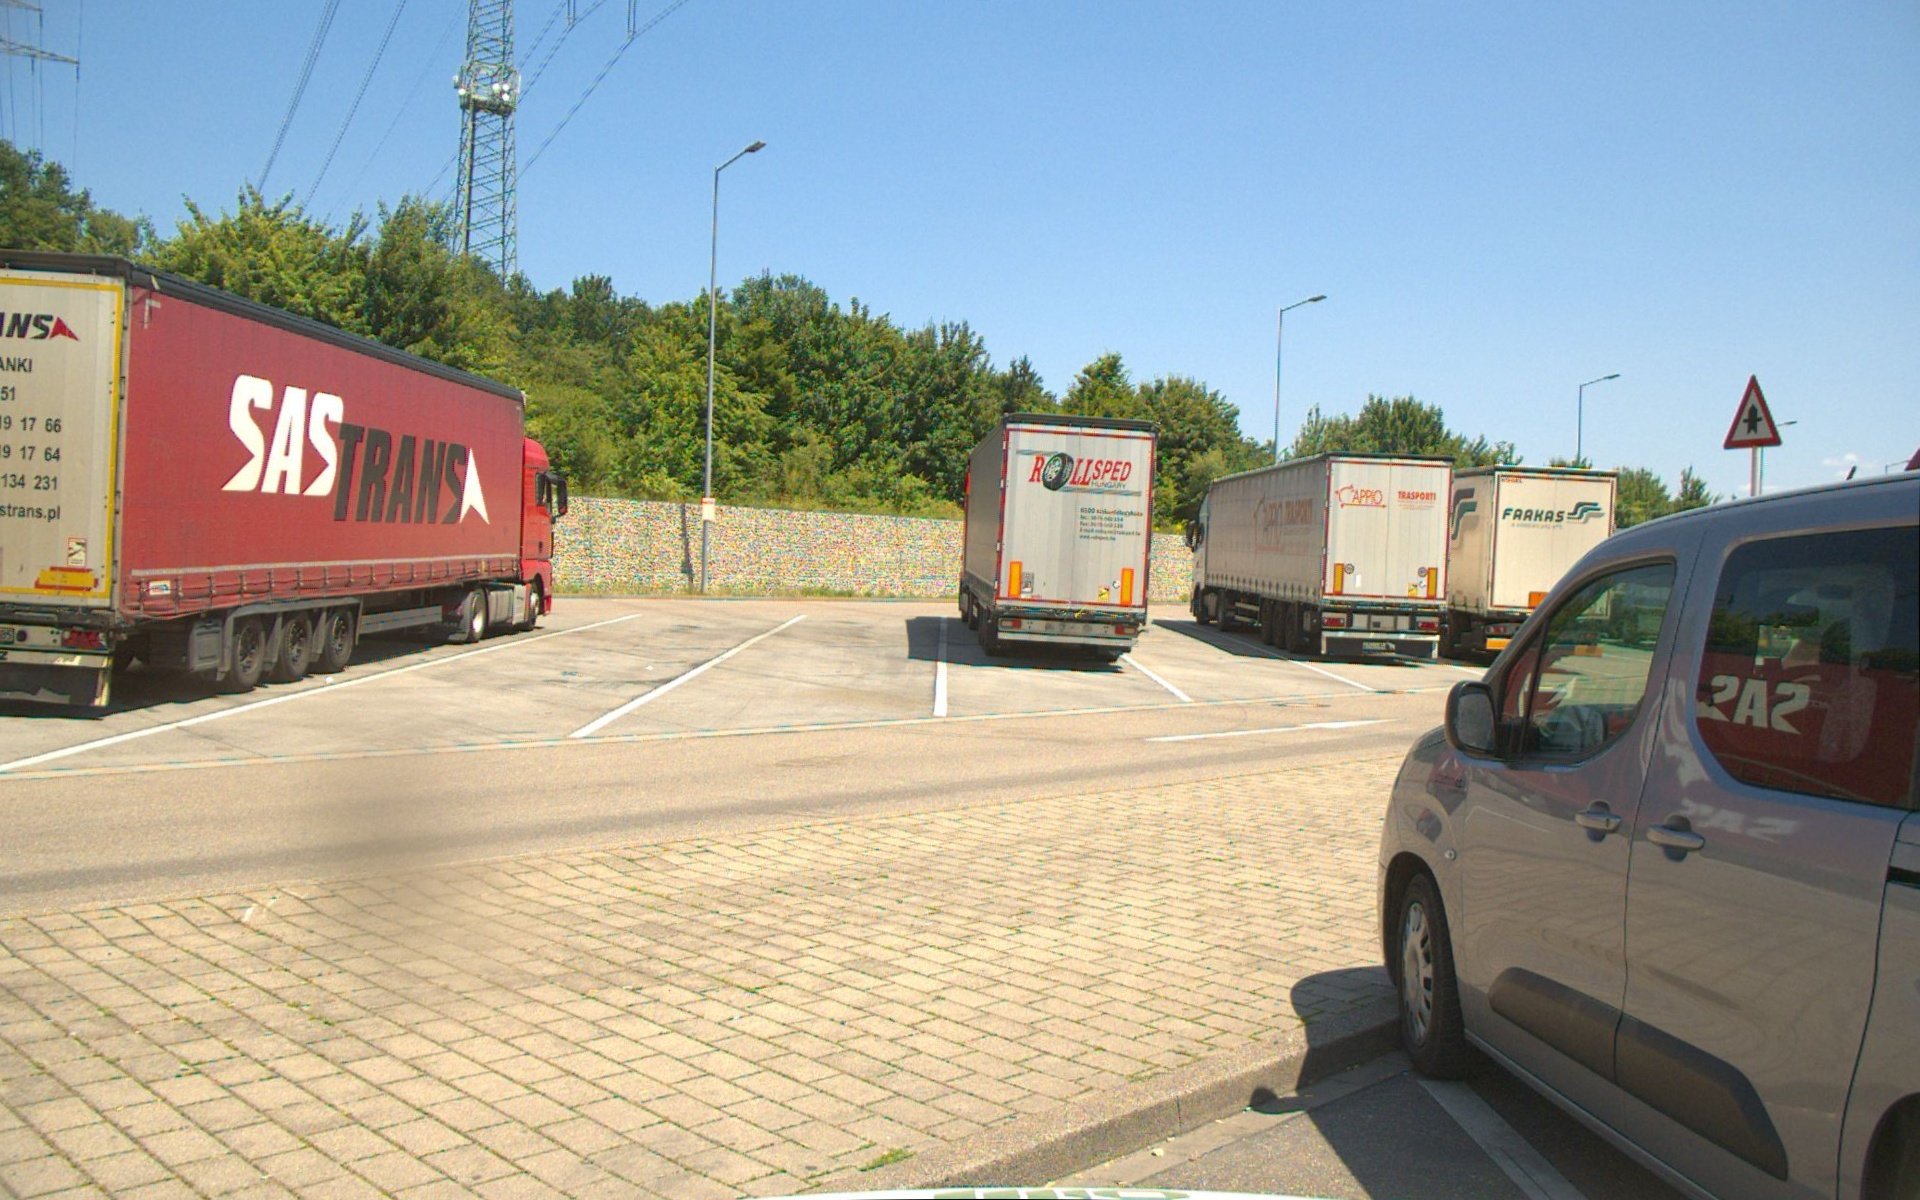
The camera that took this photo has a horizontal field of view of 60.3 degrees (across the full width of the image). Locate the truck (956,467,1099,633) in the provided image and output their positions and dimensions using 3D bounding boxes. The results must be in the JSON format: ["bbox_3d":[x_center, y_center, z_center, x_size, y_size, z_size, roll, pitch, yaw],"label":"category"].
[{"bbox_3d":[1.519,-1.243,40.559,3.041,3.628,5.900,3,2,-1],"label":"truck"}]

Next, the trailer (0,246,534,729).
[{"bbox_3d":[-8.708,-1.293,21.462,2.735,4.155,14.131,3,2,-1],"label":"trailer"}]

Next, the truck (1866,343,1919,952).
[{"bbox_3d":[5.018,0.201,5.006,1.937,2.668,5.307,1,0,4],"label":"truck"}]

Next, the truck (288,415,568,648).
[{"bbox_3d":[-8.773,-1.154,28.033,2.793,3.385,5.900,3,2,-1],"label":"truck"}]

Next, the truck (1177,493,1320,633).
[{"bbox_3d":[8.071,-1.096,46.977,2.804,3.582,5.900,3,2,-1],"label":"truck"}]

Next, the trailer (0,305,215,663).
[{"bbox_3d":[-12.535,-1.338,17.740,2.739,4.155,14.131,3,2,-1],"label":"trailer"}]

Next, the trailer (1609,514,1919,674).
[{"bbox_3d":[21.861,-0.392,44.532,2.754,3.568,14.395,3,2,-1],"label":"trailer"}]

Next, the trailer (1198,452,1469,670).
[{"bbox_3d":[8.188,-1.032,38.877,2.754,4.058,14.395,3,2,-1],"label":"trailer"}]

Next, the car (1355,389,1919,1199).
[{"bbox_3d":[2.456,0.604,3.883,1.832,1.896,4.174,3,1,-2],"label":"car"}]

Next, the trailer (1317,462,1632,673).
[{"bbox_3d":[11.751,-0.937,39.982,2.754,4.058,14.395,3,2,-1],"label":"trailer"}]

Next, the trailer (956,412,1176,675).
[{"bbox_3d":[1.676,-1.196,33.669,3.070,4.058,14.393,3,2,-1],"label":"trailer"}]

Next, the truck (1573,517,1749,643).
[{"bbox_3d":[21.784,-0.698,51.762,2.746,3.582,5.900,3,2,-1],"label":"truck"}]
